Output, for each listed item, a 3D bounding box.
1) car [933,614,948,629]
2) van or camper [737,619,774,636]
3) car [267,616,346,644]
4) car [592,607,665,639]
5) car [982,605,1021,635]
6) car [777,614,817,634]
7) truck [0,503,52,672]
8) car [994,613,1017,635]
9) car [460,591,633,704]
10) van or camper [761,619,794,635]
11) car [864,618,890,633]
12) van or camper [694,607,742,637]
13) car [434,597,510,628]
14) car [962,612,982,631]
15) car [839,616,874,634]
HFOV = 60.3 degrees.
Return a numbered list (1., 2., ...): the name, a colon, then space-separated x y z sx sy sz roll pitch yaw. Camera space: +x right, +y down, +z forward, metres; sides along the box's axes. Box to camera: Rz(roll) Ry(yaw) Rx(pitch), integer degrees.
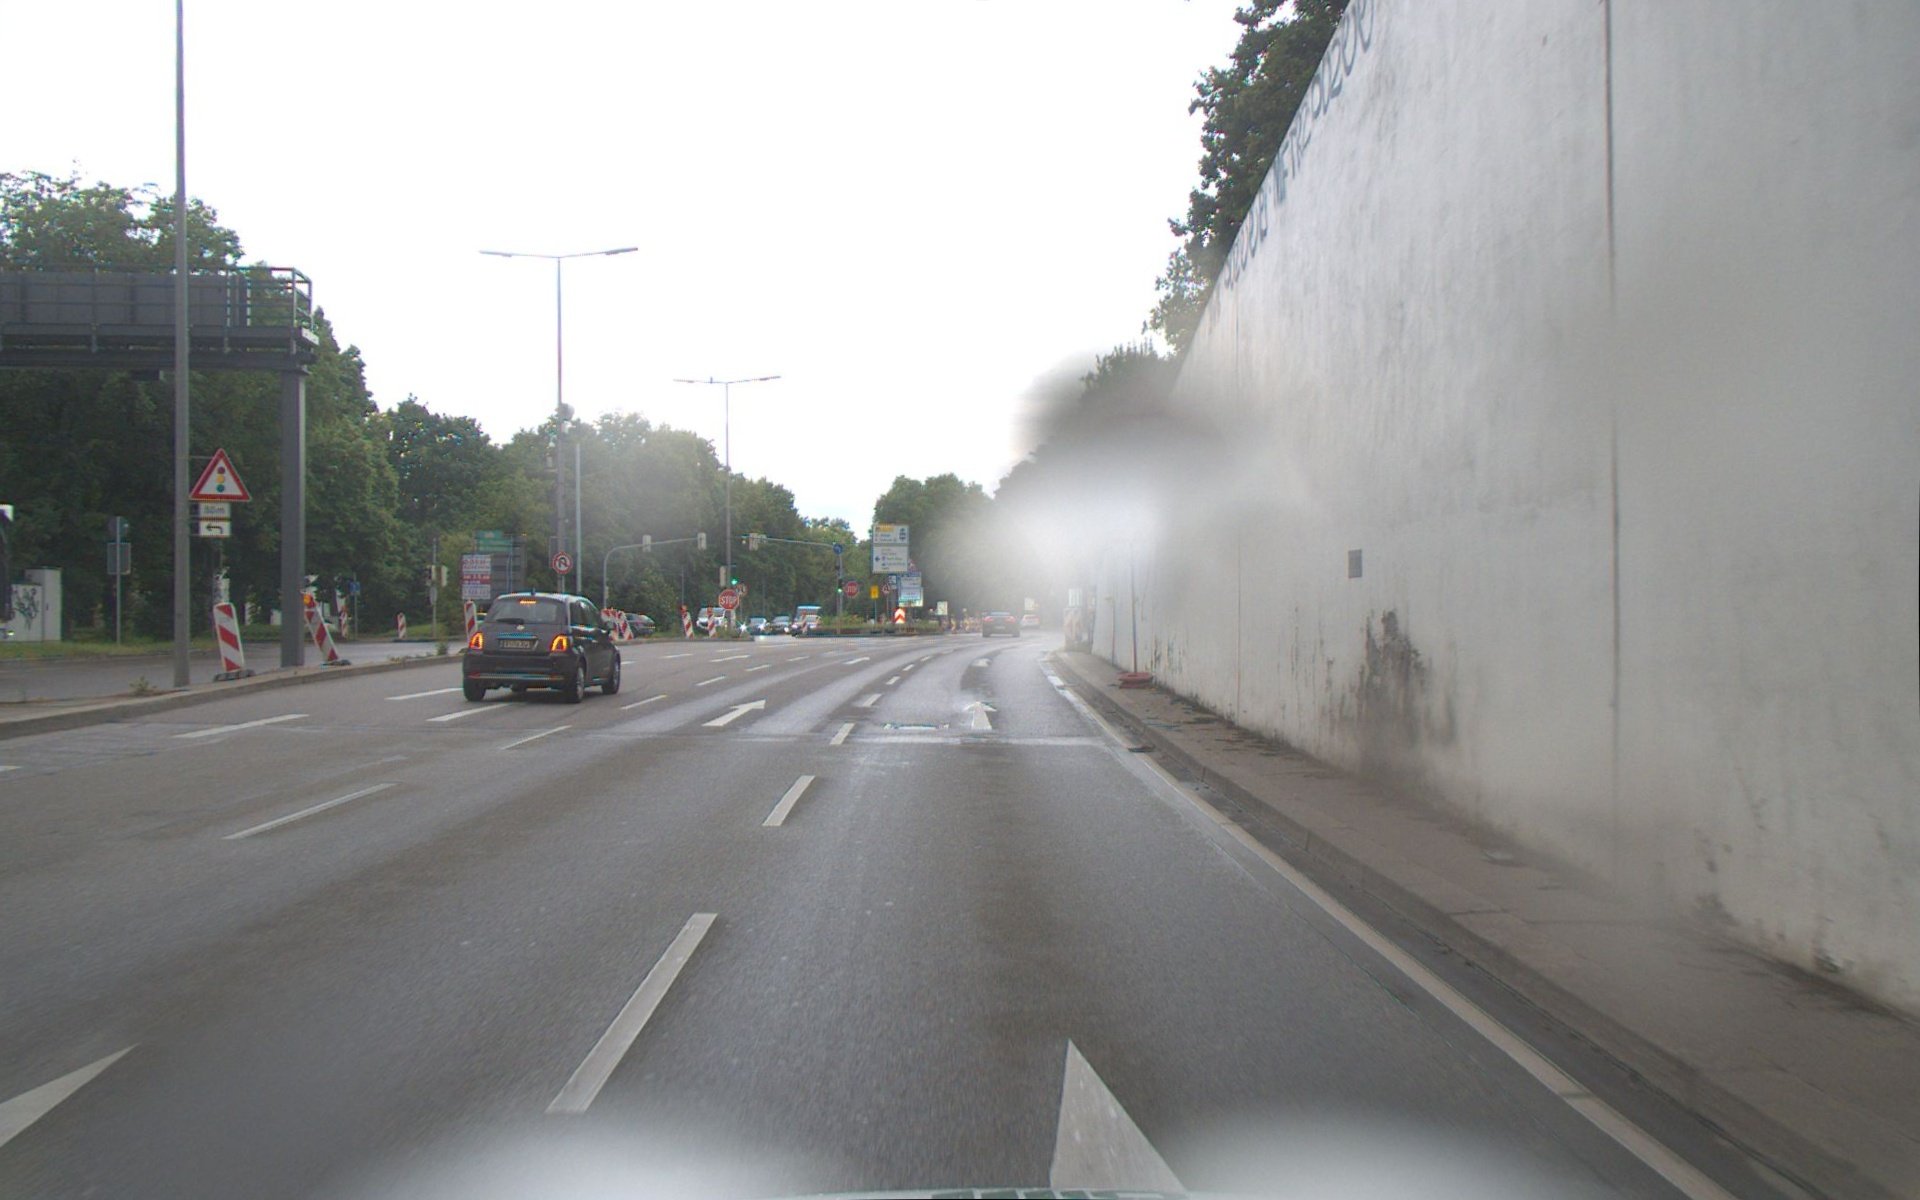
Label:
1. car: -2.656 2.946 228.980 1.953 2.049 3.998 0 -1 -2
2. van or camper: -15.898 2.133 128.752 1.967 1.324 4.094 0 -1 5
3. car: -38.852 1.764 98.333 3.905 1.540 1.898 -1 1 0
4. car: -19.179 1.316 95.580 3.916 1.713 1.892 1 0 33
5. car: 2.140 1.037 85.375 1.952 1.473 4.314 0 -1 1
6. car: -11.164 1.670 113.841 1.967 1.324 4.318 0 -1 5
7. truck: -20.306 -0.229 30.936 2.740 3.334 7.146 0 0 -1
8. car: 4.308 2.244 157.402 1.953 2.049 3.998 0 -1 -2
9. car: -5.908 0.631 23.998 1.579 1.480 3.573 1 0 0
10. van or camper: -15.495 2.322 140.721 1.967 1.324 4.094 0 -1 5
11. car: -7.372 2.303 147.283 1.967 1.324 4.316 0 -1 2
12. van or camper: -16.568 1.524 113.632 2.083 2.049 5.317 0 -1 5
13. car: -28.792 0.736 97.621 3.905 1.713 1.898 -1 1 0
14. car: 1.289 2.337 181.479 1.953 2.049 3.998 0 -1 -2
15. car: -7.810 1.907 125.021 1.967 1.324 4.318 0 -1 5
